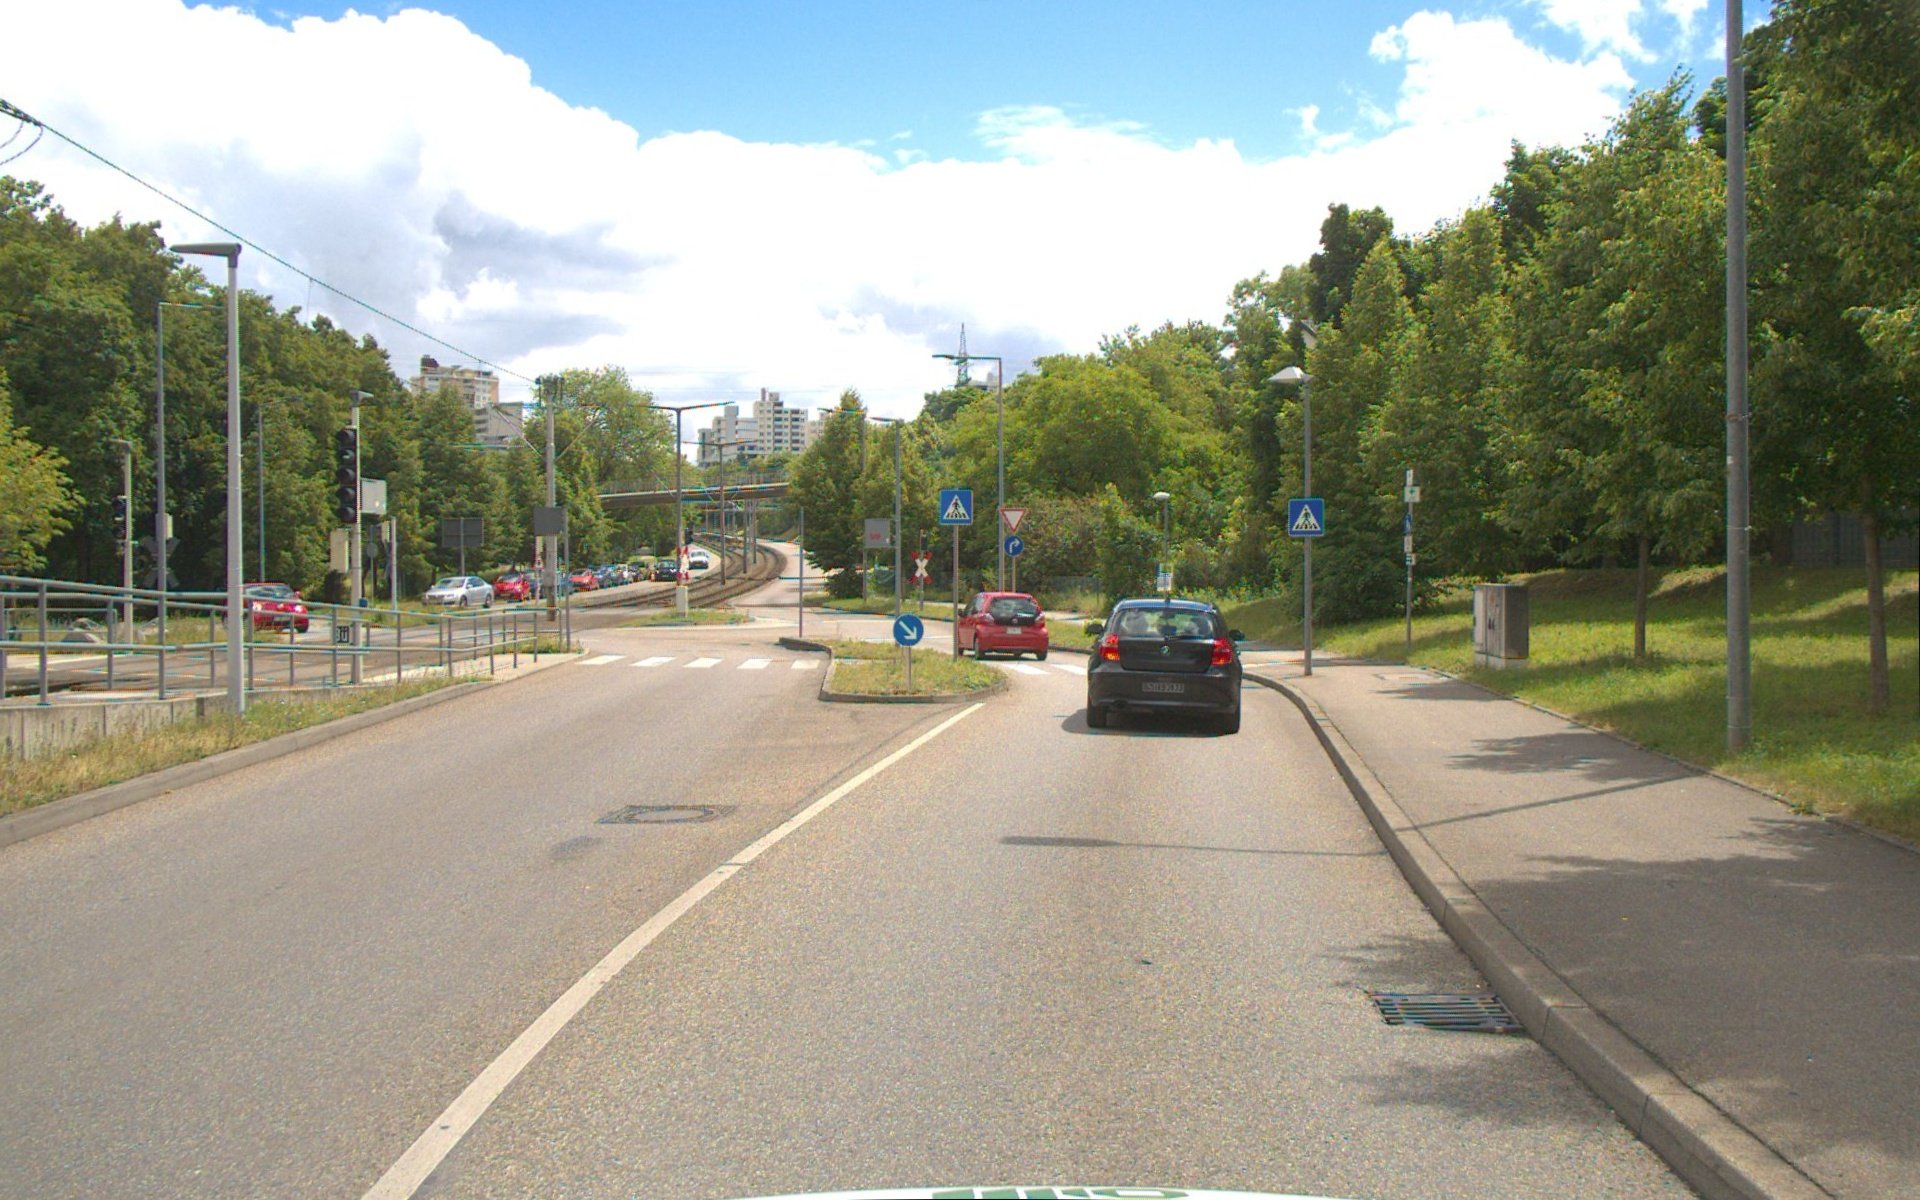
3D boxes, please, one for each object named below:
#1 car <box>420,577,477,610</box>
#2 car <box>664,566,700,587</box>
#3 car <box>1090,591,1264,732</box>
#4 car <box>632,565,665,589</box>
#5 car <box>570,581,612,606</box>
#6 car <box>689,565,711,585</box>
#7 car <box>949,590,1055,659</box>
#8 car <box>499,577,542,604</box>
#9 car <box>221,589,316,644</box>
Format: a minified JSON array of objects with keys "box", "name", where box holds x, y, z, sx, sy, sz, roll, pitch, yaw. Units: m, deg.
[{"box":[-22.448,-0.311,72.730,1.842,1.373,3.823,-1,1,-9],"name":"car"},{"box":[-22.228,-1.898,132.429,1.952,1.625,4.421,0,1,2],"name":"car"},{"box":[2.452,0.659,19.290,1.777,1.445,4.002,-1,-1,5],"name":"car"},{"box":[-25.660,-1.886,136.356,1.953,1.895,4.001,0,2,0],"name":"car"},{"box":[-24.461,-0.457,109.798,1.873,1.588,4.000,0,1,0],"name":"car"},{"box":[-26.563,-2.525,168.929,1.959,2.049,3.988,0,1,-13],"name":"car"},{"box":[0.896,0.524,37.156,1.733,1.457,3.471,-1,0,-10],"name":"car"},{"box":[-23.537,-0.510,88.594,1.497,1.394,3.595,0,1,-3],"name":"car"},{"box":[-20.196,0.455,48.285,1.710,1.529,2.922,-1,1,-42],"name":"car"}]
